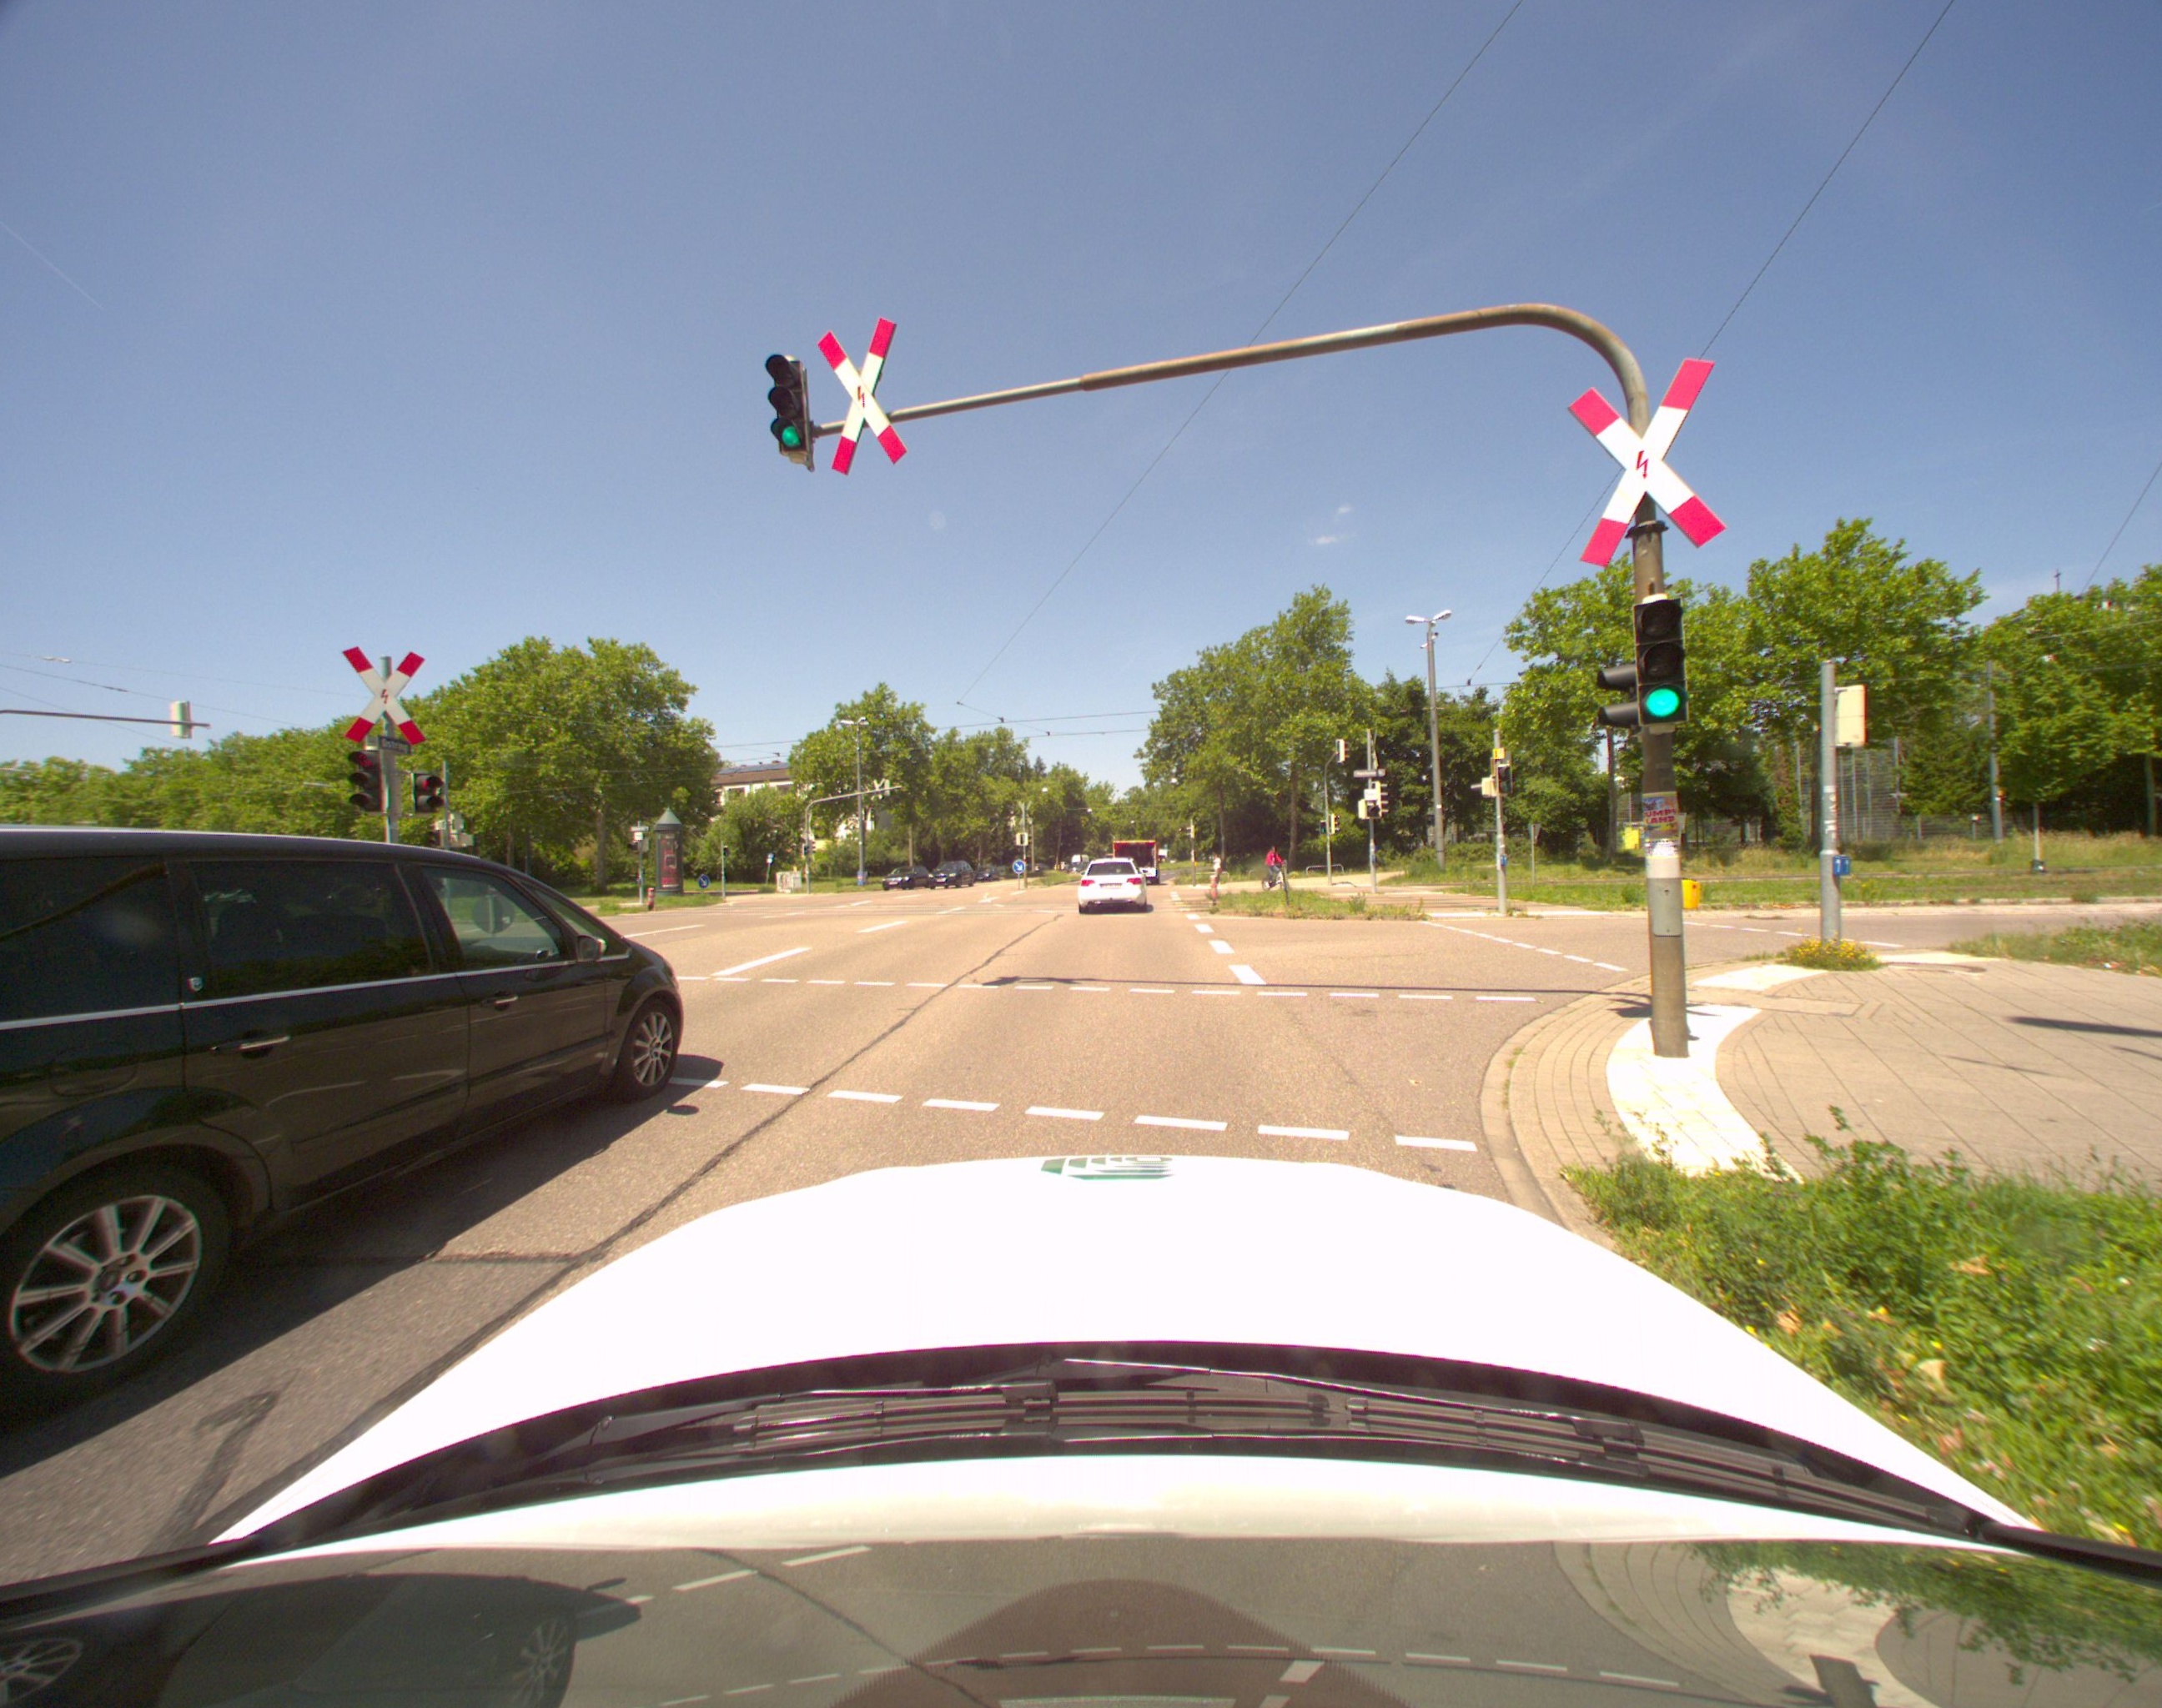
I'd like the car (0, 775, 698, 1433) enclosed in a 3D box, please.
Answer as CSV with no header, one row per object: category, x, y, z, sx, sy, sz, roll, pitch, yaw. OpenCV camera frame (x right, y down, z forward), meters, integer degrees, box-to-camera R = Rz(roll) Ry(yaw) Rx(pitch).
car,-3.766,0.684,3.528,1.847,1.755,4.651,-1,0,2

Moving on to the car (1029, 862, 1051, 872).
car,-6.354,1.987,125.916,1.865,1.376,4.021,-2,0,22

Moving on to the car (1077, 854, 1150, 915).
car,0.858,0.751,21.840,1.756,1.445,3.617,-2,0,2

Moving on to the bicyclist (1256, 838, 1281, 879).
bicyclist,7.213,0.167,31.294,0.582,1.556,0.666,-2,-1,-35

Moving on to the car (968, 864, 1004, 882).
car,-7.808,1.577,67.342,1.708,1.455,3.882,-1,-2,13

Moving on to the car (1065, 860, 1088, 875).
car,-0.489,1.425,87.129,1.726,1.395,4.189,-2,0,9

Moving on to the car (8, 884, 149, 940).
car,-33.357,1.879,27.093,4.404,1.604,2.230,-2,0,29

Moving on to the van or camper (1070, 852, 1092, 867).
van or camper,0.076,0.966,144.228,2.165,2.587,5.334,-2,0,18

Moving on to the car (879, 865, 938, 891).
car,-10.743,1.490,51.127,1.937,1.440,4.759,-2,0,10

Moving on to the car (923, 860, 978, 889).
car,-7.672,1.190,48.397,1.898,1.539,4.309,-2,-1,9

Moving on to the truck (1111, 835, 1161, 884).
truck,3.246,0.238,46.172,2.498,2.559,7.617,0,1,6

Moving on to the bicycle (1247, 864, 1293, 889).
bicycle,7.240,0.867,31.287,0.591,0.895,1.792,-2,-1,-34

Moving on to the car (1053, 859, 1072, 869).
car,-3.038,1.660,135.548,1.866,1.474,4.018,-2,0,18

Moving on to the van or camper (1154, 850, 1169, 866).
van or camper,18.161,0.857,182.528,2.643,3.331,5.519,-2,0,12

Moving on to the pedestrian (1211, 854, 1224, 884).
pedestrian,6.786,0.728,40.464,0.549,1.484,0.632,-2,0,14
